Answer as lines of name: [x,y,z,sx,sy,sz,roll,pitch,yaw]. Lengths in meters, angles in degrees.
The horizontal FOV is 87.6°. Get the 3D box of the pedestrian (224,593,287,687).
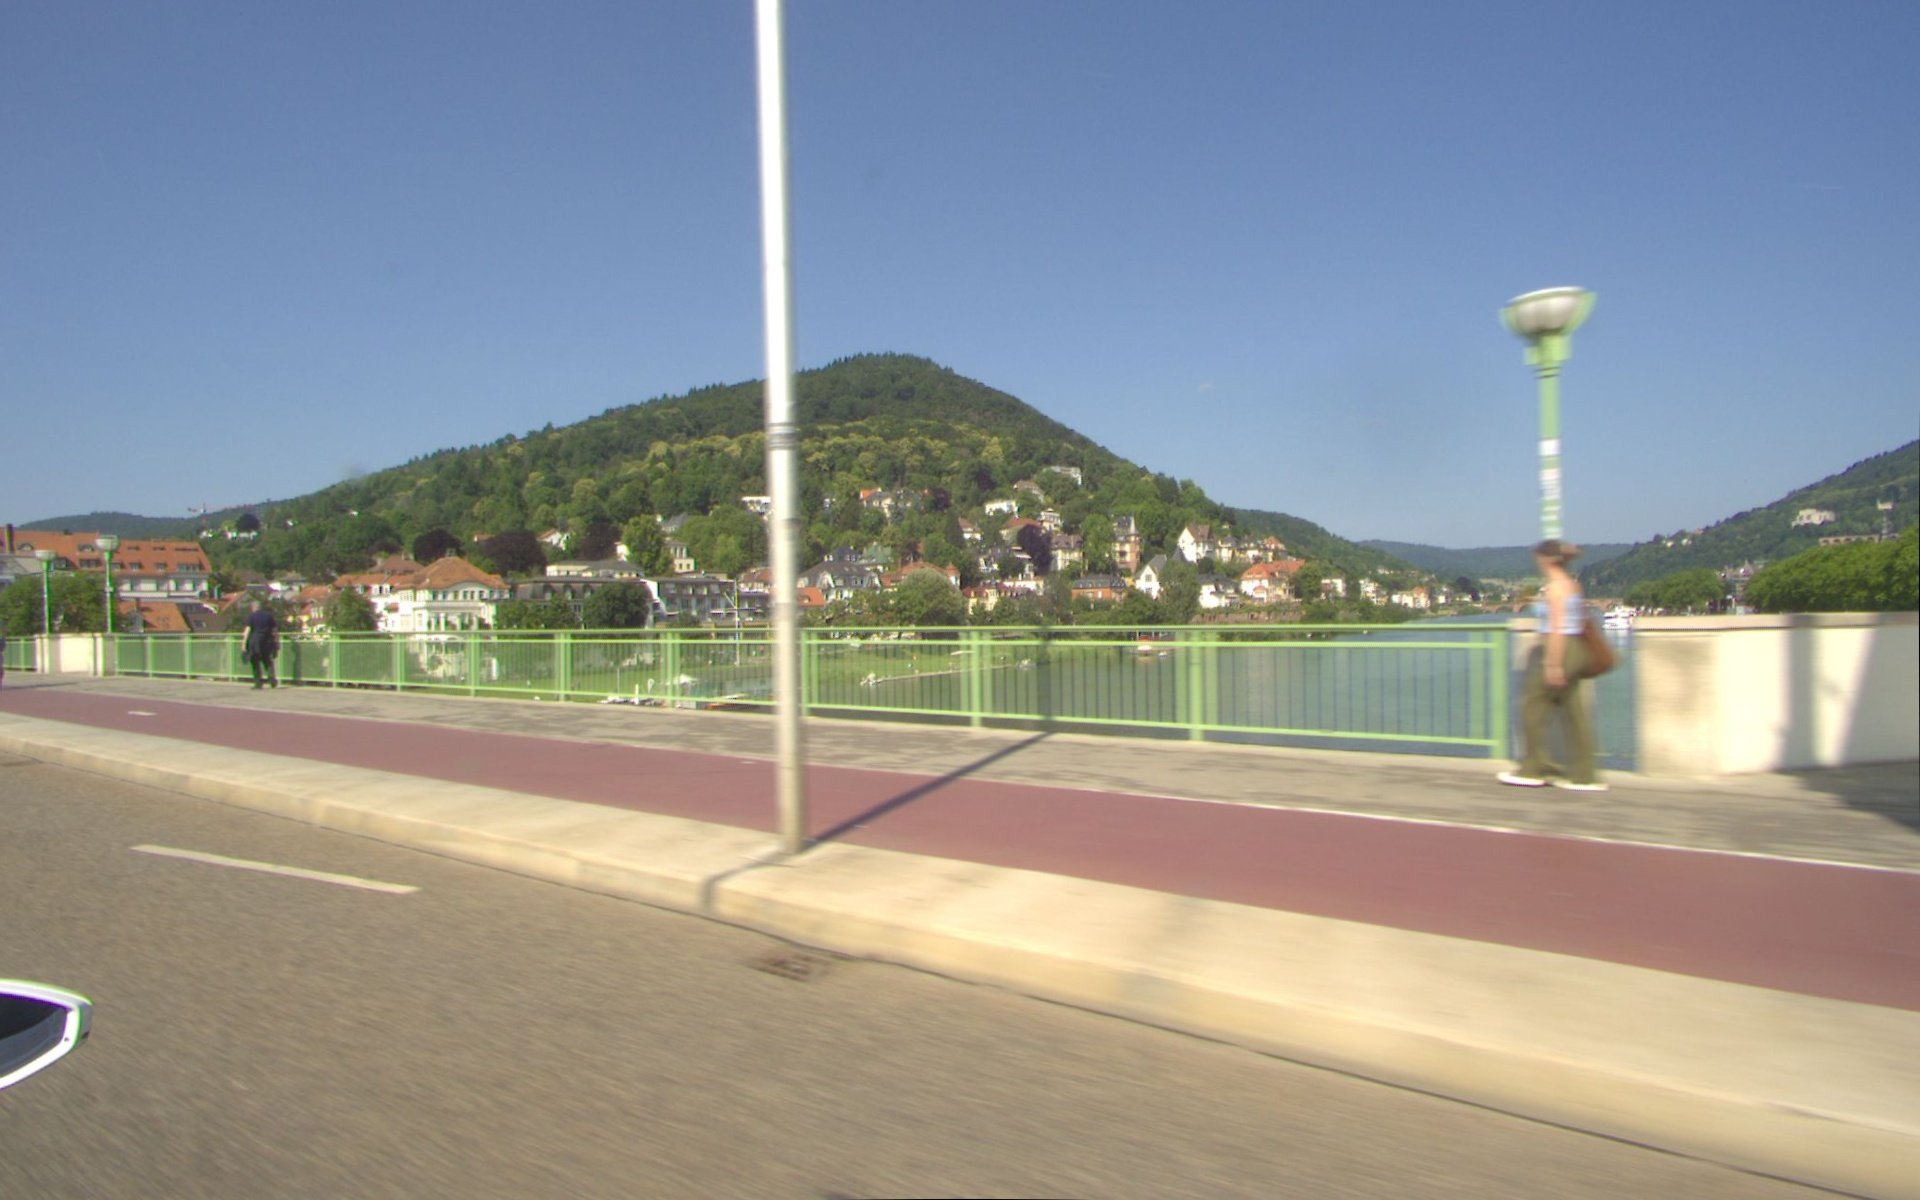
pedestrian: [-13.602,0.747,19.339,0.963,1.767,0.654,1,1,29]

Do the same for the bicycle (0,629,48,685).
bicycle: [-21.154,1.217,21.865,3.689,1.110,0.791,-1,0,31]

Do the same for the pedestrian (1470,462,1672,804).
pedestrian: [3.987,0.212,6.621,1.043,2.040,0.873,-1,0,29]

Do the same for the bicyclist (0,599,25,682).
bicyclist: [-21.005,0.872,21.764,1.133,1.767,0.672,-1,1,31]
